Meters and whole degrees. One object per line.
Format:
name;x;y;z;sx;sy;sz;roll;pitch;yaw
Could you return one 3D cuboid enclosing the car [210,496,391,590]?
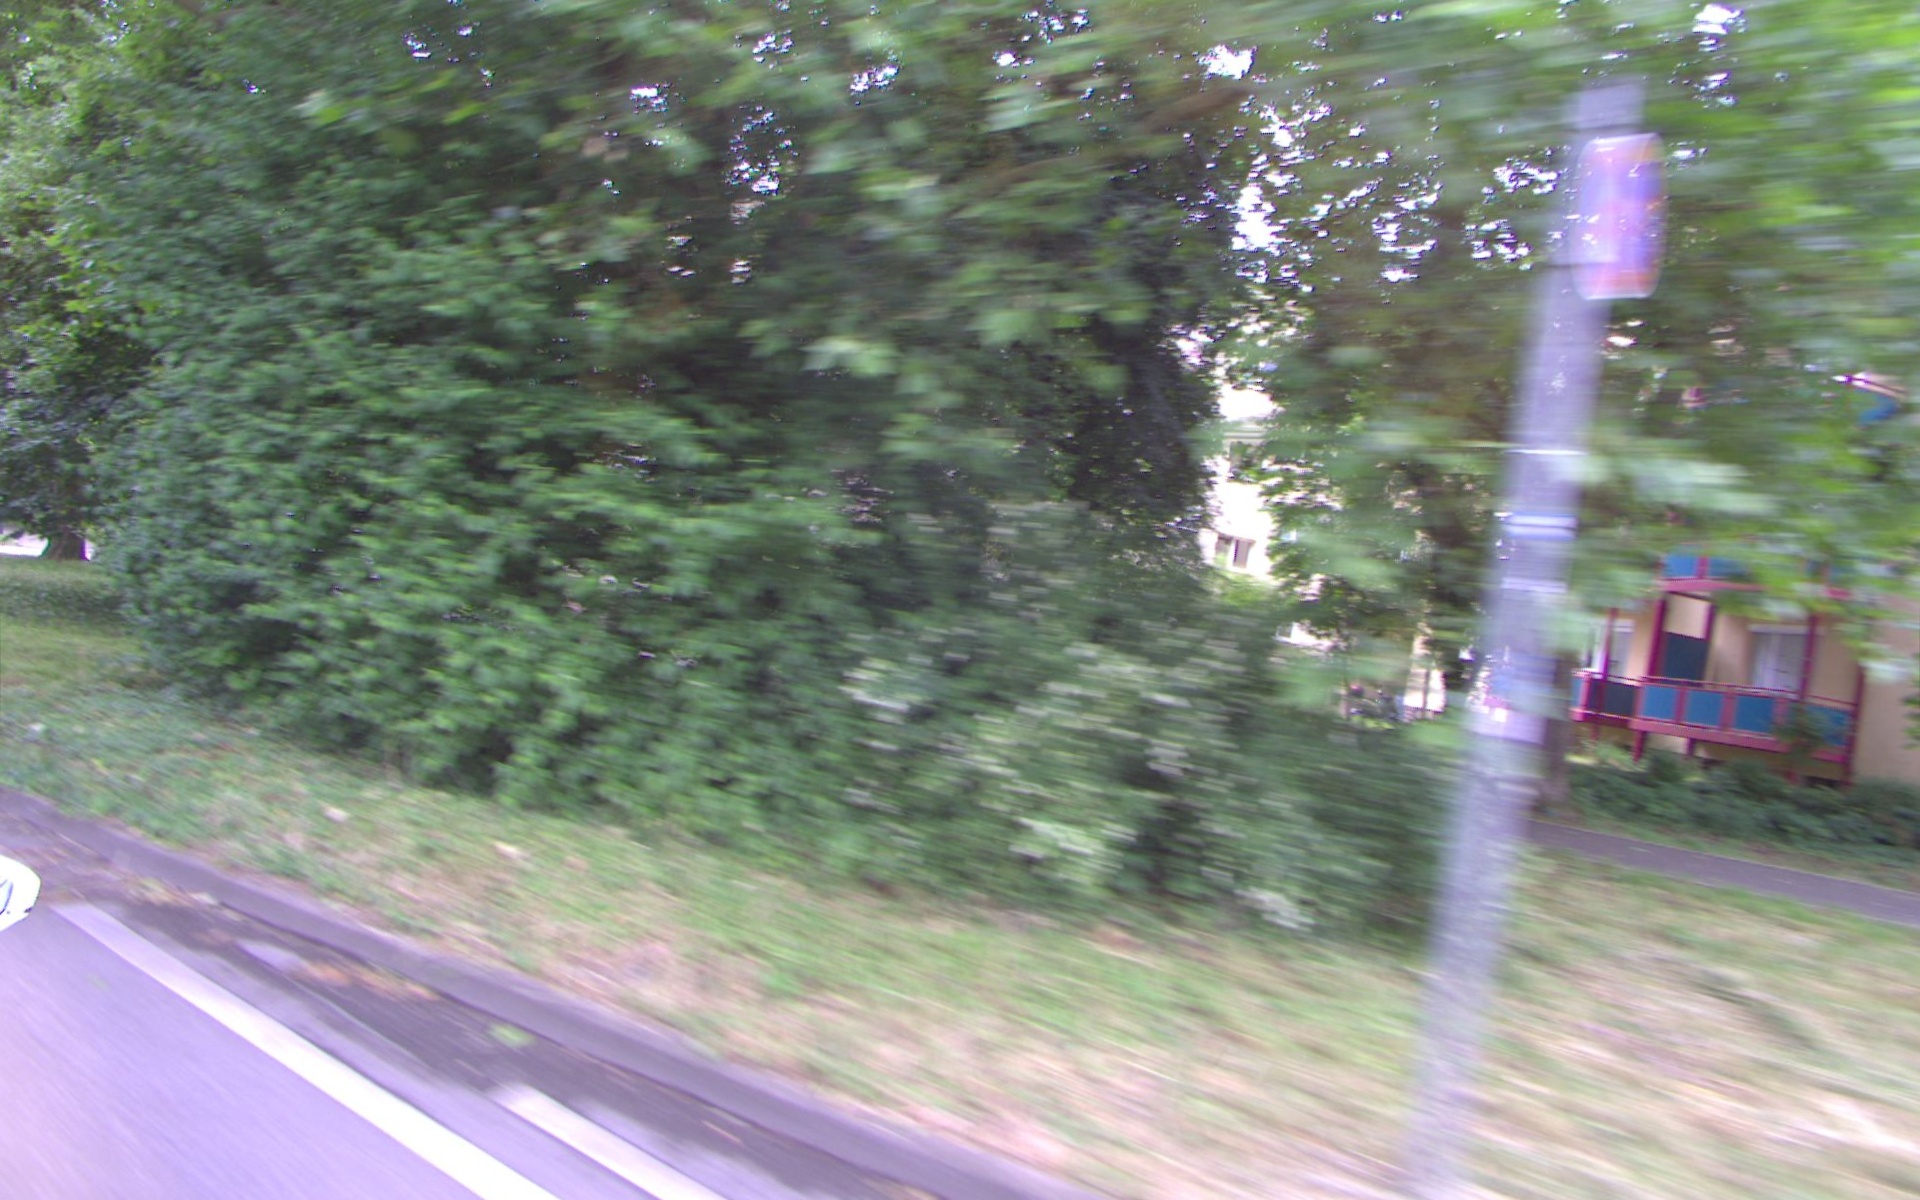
car;-21.829;-1.796;33.648;2.251;2.325;5.329;9;-2;0
